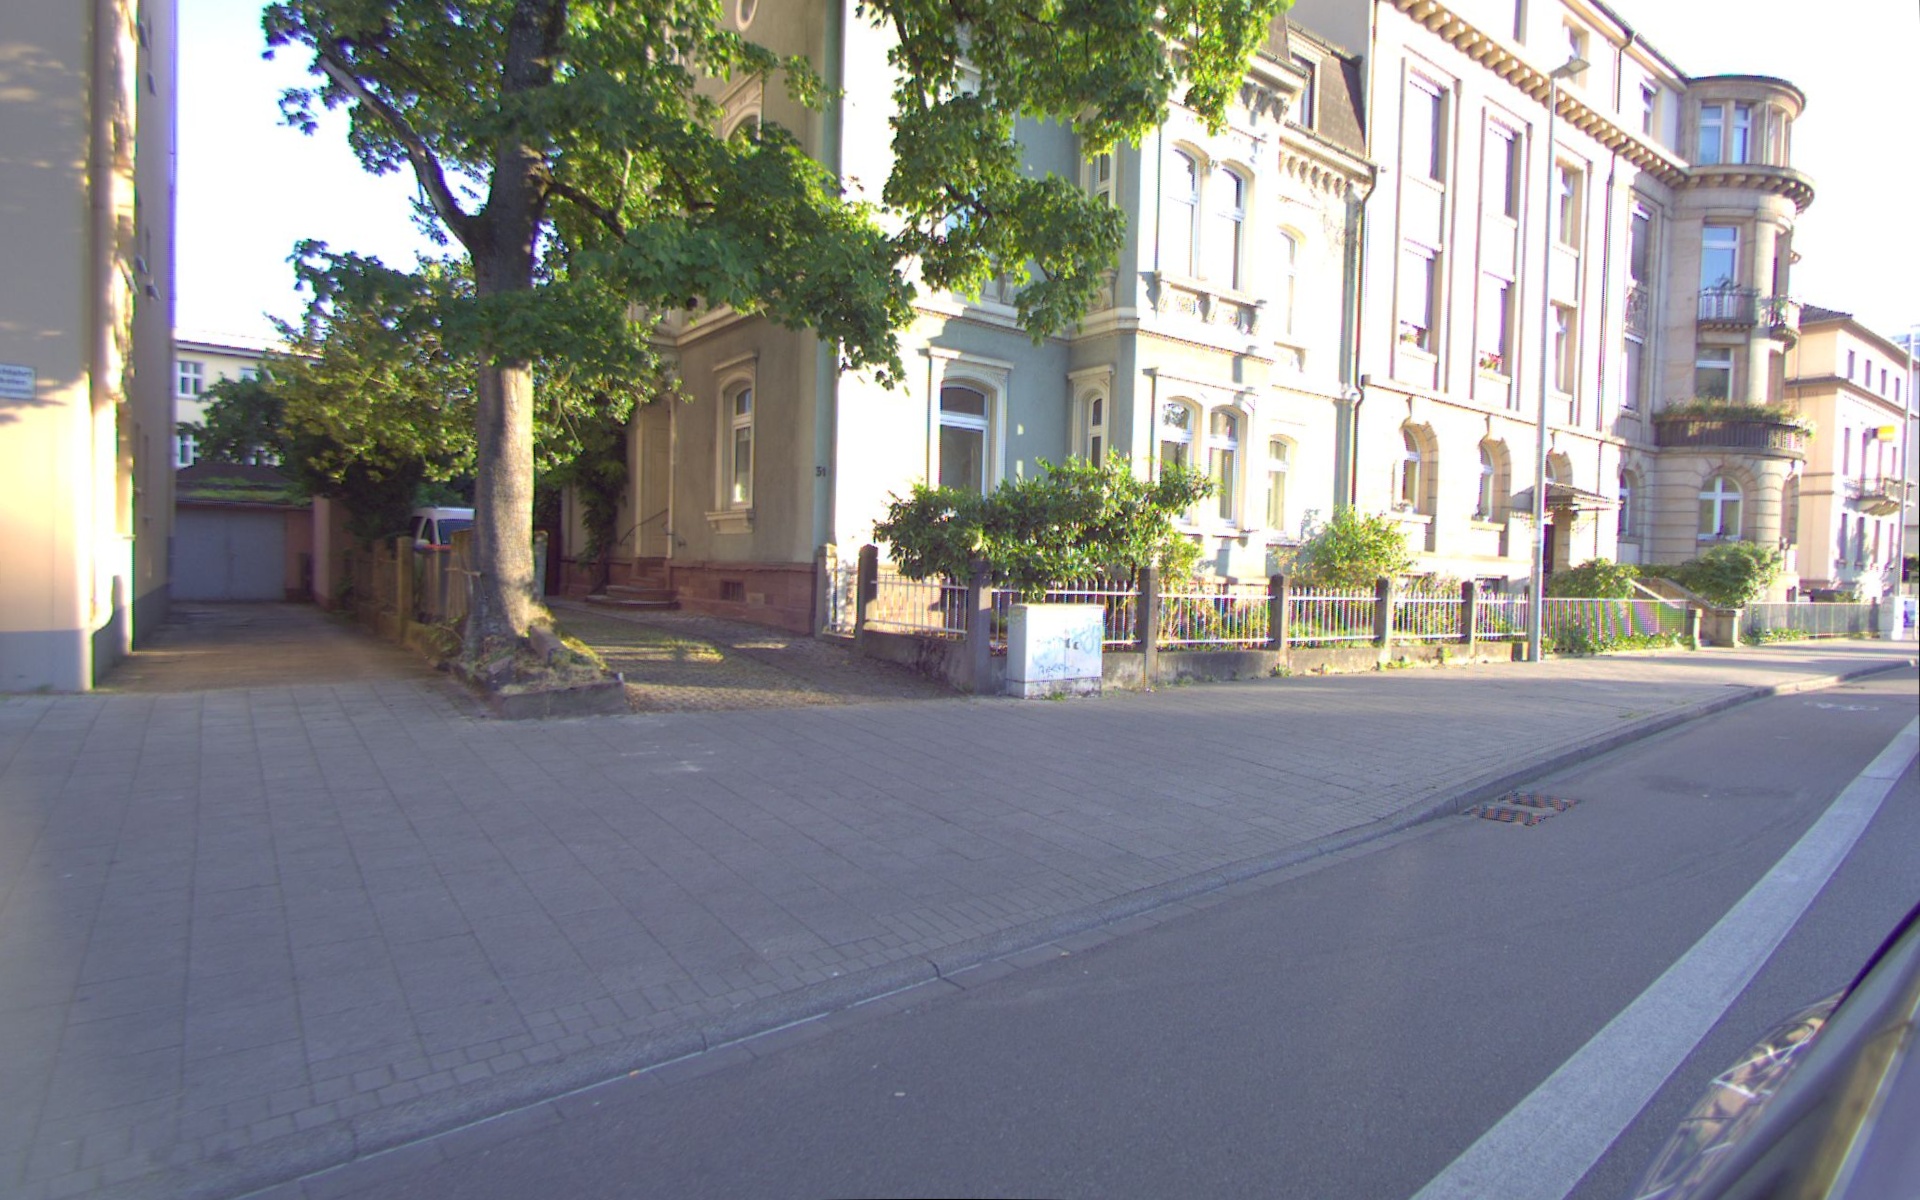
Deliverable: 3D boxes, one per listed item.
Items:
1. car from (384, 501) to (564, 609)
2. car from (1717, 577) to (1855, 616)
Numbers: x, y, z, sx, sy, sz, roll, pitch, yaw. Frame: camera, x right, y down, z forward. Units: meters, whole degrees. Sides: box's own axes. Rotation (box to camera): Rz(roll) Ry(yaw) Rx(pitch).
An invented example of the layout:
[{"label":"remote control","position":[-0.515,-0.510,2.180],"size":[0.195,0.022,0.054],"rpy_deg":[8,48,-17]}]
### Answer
[{"label":"car","position":[-9.181,-0.886,18.915],"size":[1.794,1.778,4.516],"rpy_deg":[1,3,-42]},{"label":"car","position":[34.339,-0.177,42.155],"size":[1.902,1.499,4.100],"rpy_deg":[0,1,-36]}]
